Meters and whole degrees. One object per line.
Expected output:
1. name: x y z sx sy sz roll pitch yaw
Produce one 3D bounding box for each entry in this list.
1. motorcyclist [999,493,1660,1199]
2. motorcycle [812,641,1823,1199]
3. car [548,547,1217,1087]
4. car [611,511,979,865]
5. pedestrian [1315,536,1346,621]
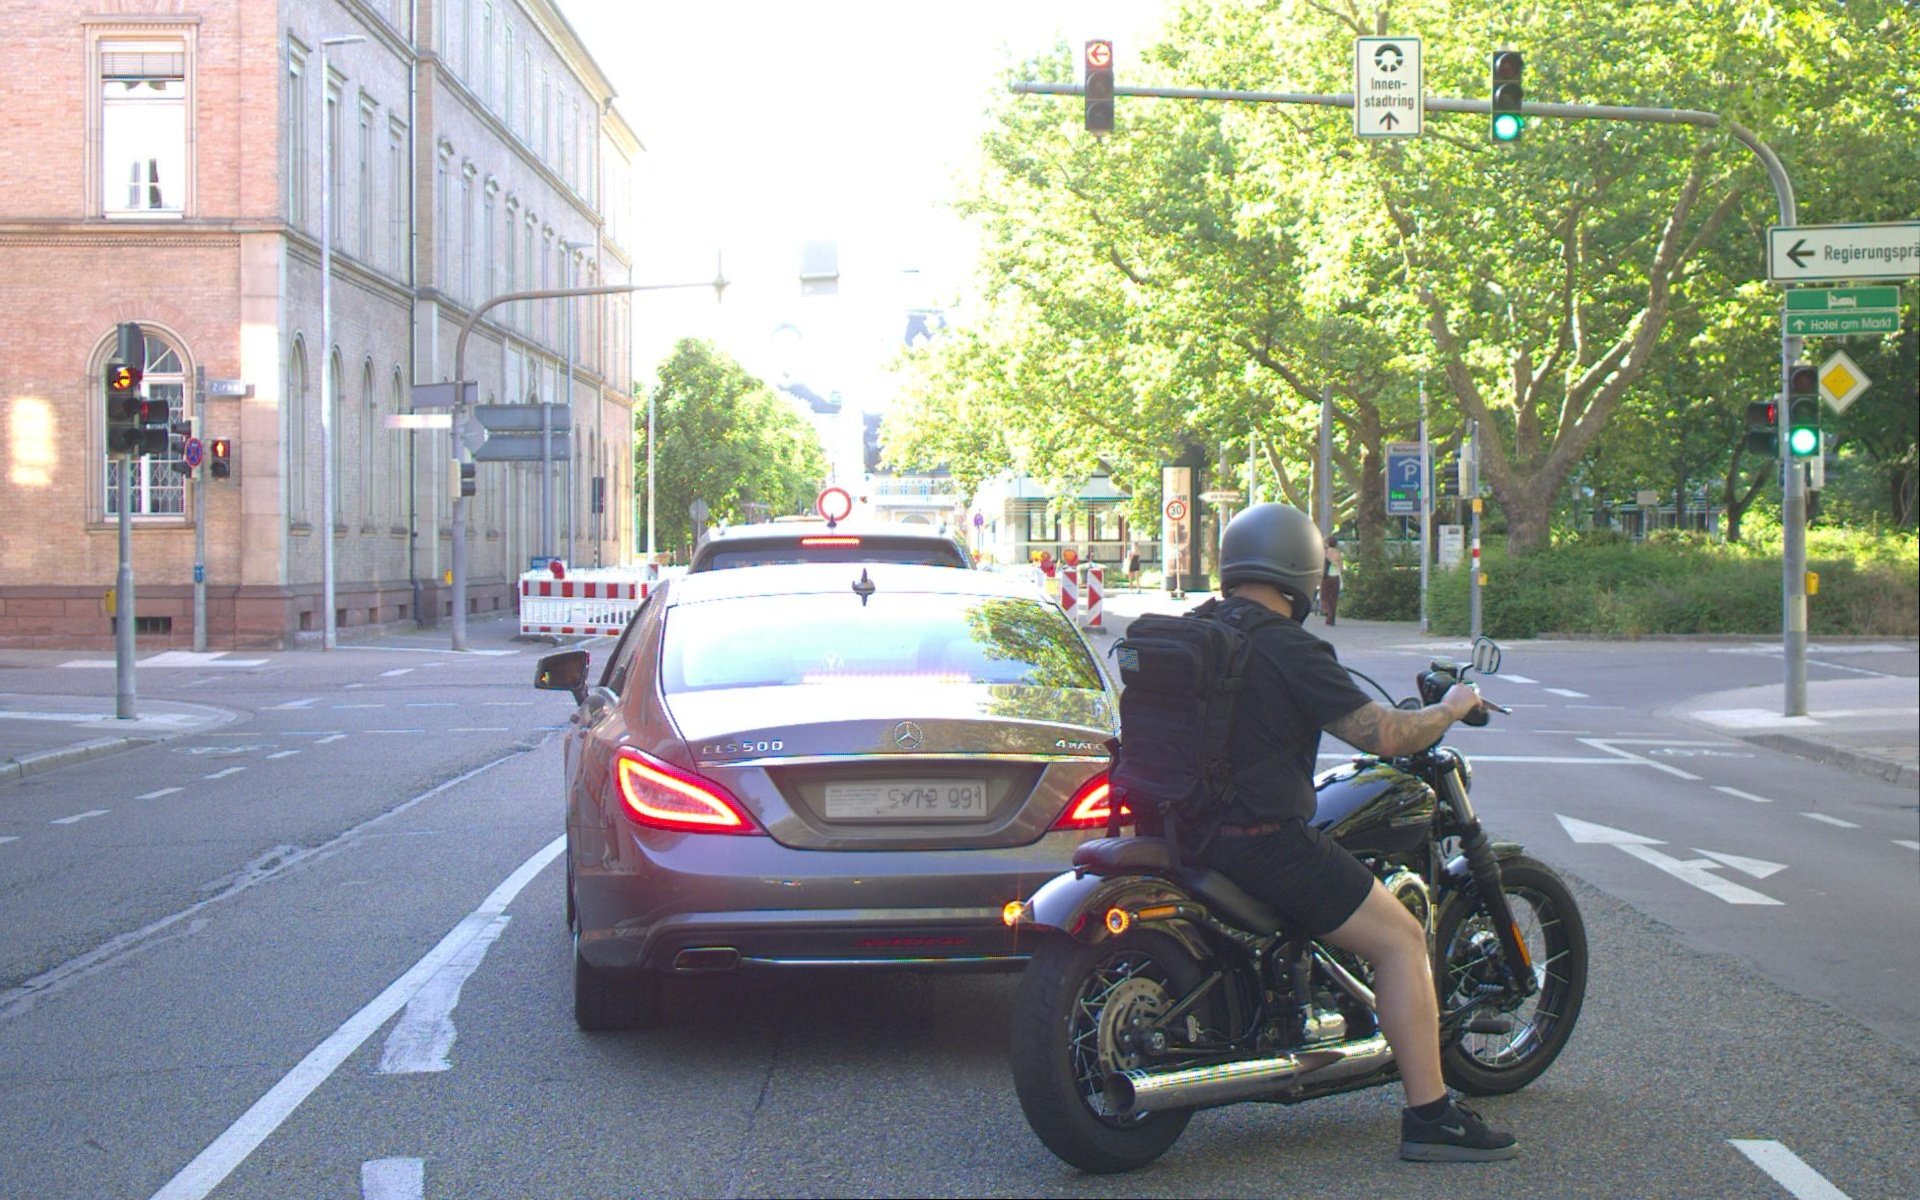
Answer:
1. motorcyclist: 0.917 0.548 8.552 1.199 1.607 1.116 -1 1 -42
2. motorcycle: 0.973 0.741 8.646 2.657 1.200 1.010 -1 1 -42
3. car: -0.462 0.559 11.652 1.821 1.471 4.354 0 1 -7
4. car: -0.813 0.372 17.641 1.681 1.619 3.841 0 1 -2
5. pedestrian: 7.315 -0.427 67.881 0.559 1.672 0.565 0 1 -1
